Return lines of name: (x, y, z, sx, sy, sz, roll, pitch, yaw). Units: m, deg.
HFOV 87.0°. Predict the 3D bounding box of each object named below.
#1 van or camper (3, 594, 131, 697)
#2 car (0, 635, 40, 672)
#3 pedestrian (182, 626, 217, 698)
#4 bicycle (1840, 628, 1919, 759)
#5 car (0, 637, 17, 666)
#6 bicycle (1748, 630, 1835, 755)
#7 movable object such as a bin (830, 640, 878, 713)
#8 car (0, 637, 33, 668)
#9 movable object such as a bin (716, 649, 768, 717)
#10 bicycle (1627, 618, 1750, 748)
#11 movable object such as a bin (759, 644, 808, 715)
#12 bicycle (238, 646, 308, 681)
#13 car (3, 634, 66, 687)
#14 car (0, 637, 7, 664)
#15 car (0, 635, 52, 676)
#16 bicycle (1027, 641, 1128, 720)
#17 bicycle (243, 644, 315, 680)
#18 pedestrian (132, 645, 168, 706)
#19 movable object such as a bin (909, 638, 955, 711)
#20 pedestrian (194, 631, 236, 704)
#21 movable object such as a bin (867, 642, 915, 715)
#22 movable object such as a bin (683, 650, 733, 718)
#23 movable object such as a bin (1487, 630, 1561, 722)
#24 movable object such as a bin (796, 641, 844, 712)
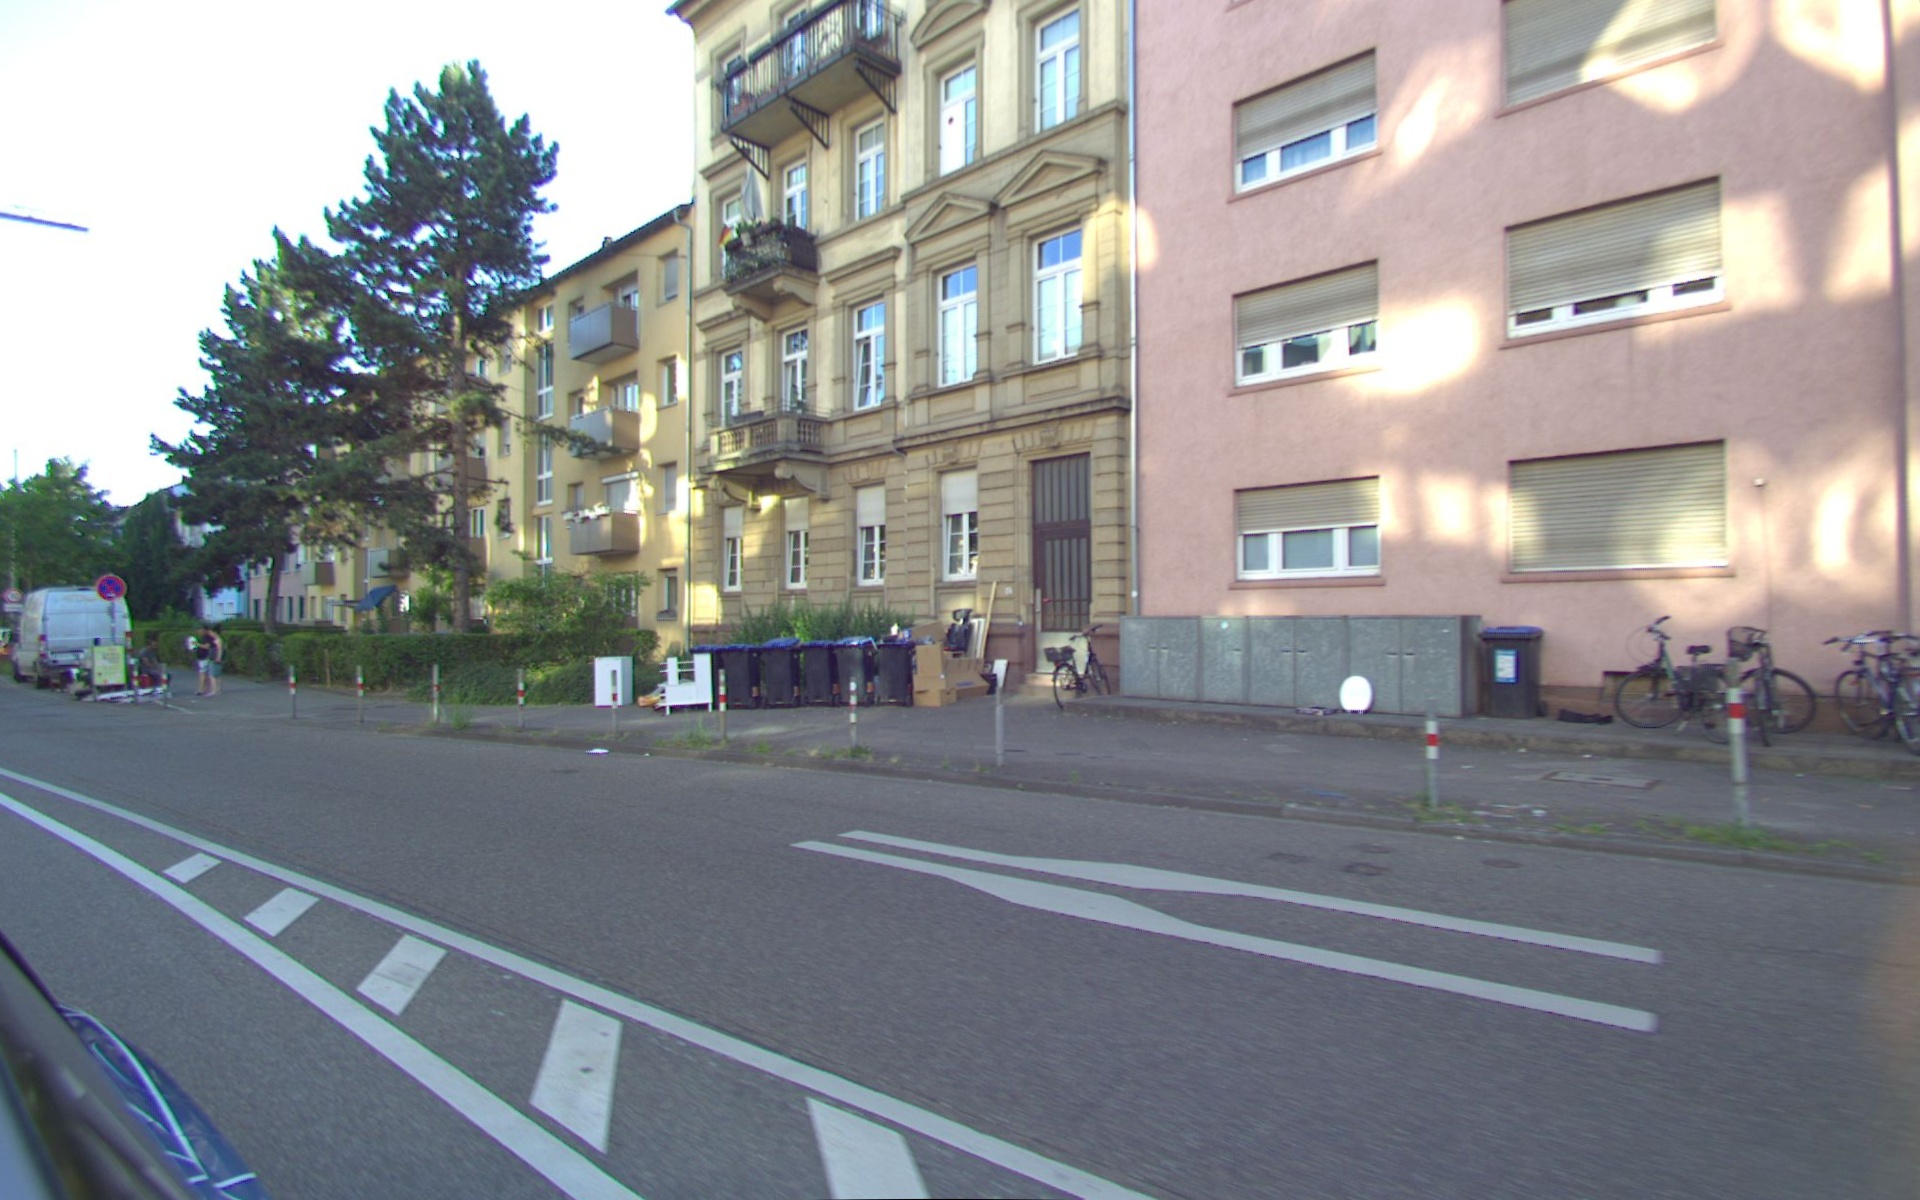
van or camper: (-25.879, 1.254, 29.234, 6.013, 2.684, 2.014, -2, 0, 42)
car: (-43.931, 2.438, 46.832, 4.187, 1.600, 1.756, -2, -2, 44)
pedestrian: (-18.036, 1.458, 23.990, 0.724, 1.664, 0.475, -2, -2, 38)
bicycle: (8.520, 0.802, 9.112, 0.547, 1.048, 1.658, -1, -1, 29)
car: (-52.772, 2.811, 55.326, 3.642, 1.503, 1.573, -1, -1, 43)
bicycle: (7.901, 0.830, 9.664, 0.548, 1.048, 1.654, -1, -1, 37)
movable object such as a bin: (-1.703, 1.223, 16.345, 0.578, 1.119, 0.639, -1, 0, 14)
car: (-47.565, 2.590, 50.258, 4.459, 1.459, 1.971, -2, -2, 44)
movable object such as a bin: (-3.636, 1.371, 16.906, 0.621, 1.076, 0.639, -1, 0, 14)
bicycle: (7.257, 0.776, 10.159, 0.492, 1.169, 1.665, -1, -1, 18)
movable object such as a bin: (-2.922, 1.315, 16.803, 0.578, 1.119, 0.639, -1, 0, 14)
bicycle: (-21.489, 1.970, 31.667, 0.590, 0.989, 1.738, -2, -1, 45)
car: (-29.599, 1.898, 32.341, 1.387, 1.560, 2.763, -1, -1, -44)
car: (-56.637, 2.927, 58.713, 4.317, 1.529, 1.816, -2, -1, 45)
car: (-36.129, 2.117, 38.801, 3.924, 1.463, 1.698, -3, -2, 44)
bicycle: (1.816, 1.200, 15.474, 0.662, 0.974, 1.631, -2, 3, 42)
bicycle: (-20.950, 1.892, 31.144, 0.590, 0.989, 1.765, -2, -1, 45)
pedestrian: (-18.921, 1.749, 23.648, 0.480, 1.388, 0.553, -2, -1, 39)
movable object such as a bin: (-0.449, 1.185, 16.224, 0.578, 1.119, 0.639, -1, 0, 14)
pedestrian: (-17.357, 1.552, 23.584, 0.696, 1.664, 0.599, -2, -2, 38)
movable object such as a bin: (-1.104, 1.256, 16.282, 0.578, 1.119, 0.639, -1, 0, 14)
movable object such as a bin: (-4.263, 1.407, 17.122, 0.578, 1.091, 0.639, -1, 0, 14)
movable object such as a bin: (6.620, 0.873, 11.873, 0.589, 1.039, 0.667, -2, -3, 44)
movable object such as a bin: (-2.299, 1.245, 16.640, 0.578, 1.119, 0.639, -1, 0, 14)
